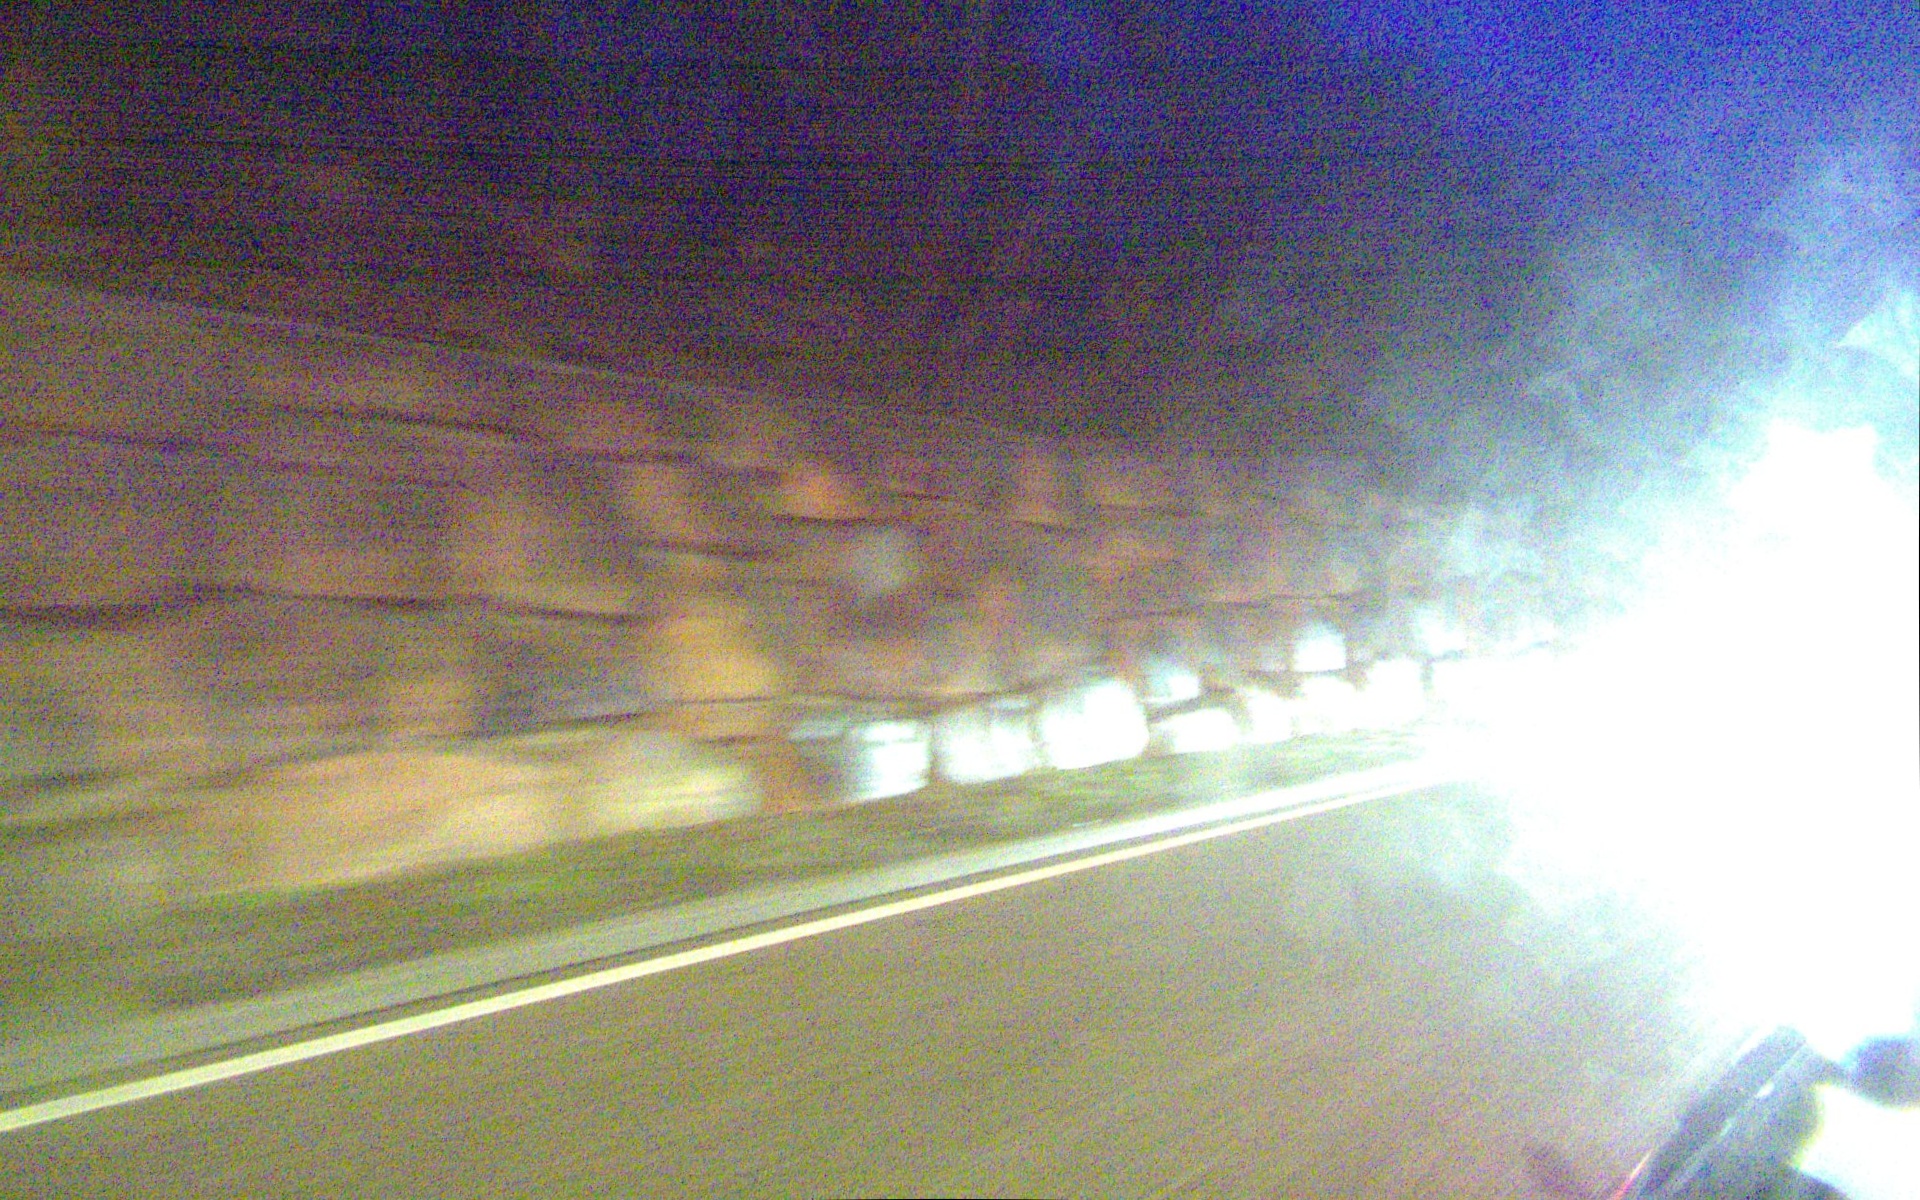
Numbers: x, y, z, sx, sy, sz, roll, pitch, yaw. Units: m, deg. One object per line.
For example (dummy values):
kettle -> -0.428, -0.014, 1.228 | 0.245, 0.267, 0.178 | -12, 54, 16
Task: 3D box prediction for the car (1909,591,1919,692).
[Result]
car -> 18.253, 0.707, 17.869 | 4.145, 1.715, 1.789 | 0, 0, -41
